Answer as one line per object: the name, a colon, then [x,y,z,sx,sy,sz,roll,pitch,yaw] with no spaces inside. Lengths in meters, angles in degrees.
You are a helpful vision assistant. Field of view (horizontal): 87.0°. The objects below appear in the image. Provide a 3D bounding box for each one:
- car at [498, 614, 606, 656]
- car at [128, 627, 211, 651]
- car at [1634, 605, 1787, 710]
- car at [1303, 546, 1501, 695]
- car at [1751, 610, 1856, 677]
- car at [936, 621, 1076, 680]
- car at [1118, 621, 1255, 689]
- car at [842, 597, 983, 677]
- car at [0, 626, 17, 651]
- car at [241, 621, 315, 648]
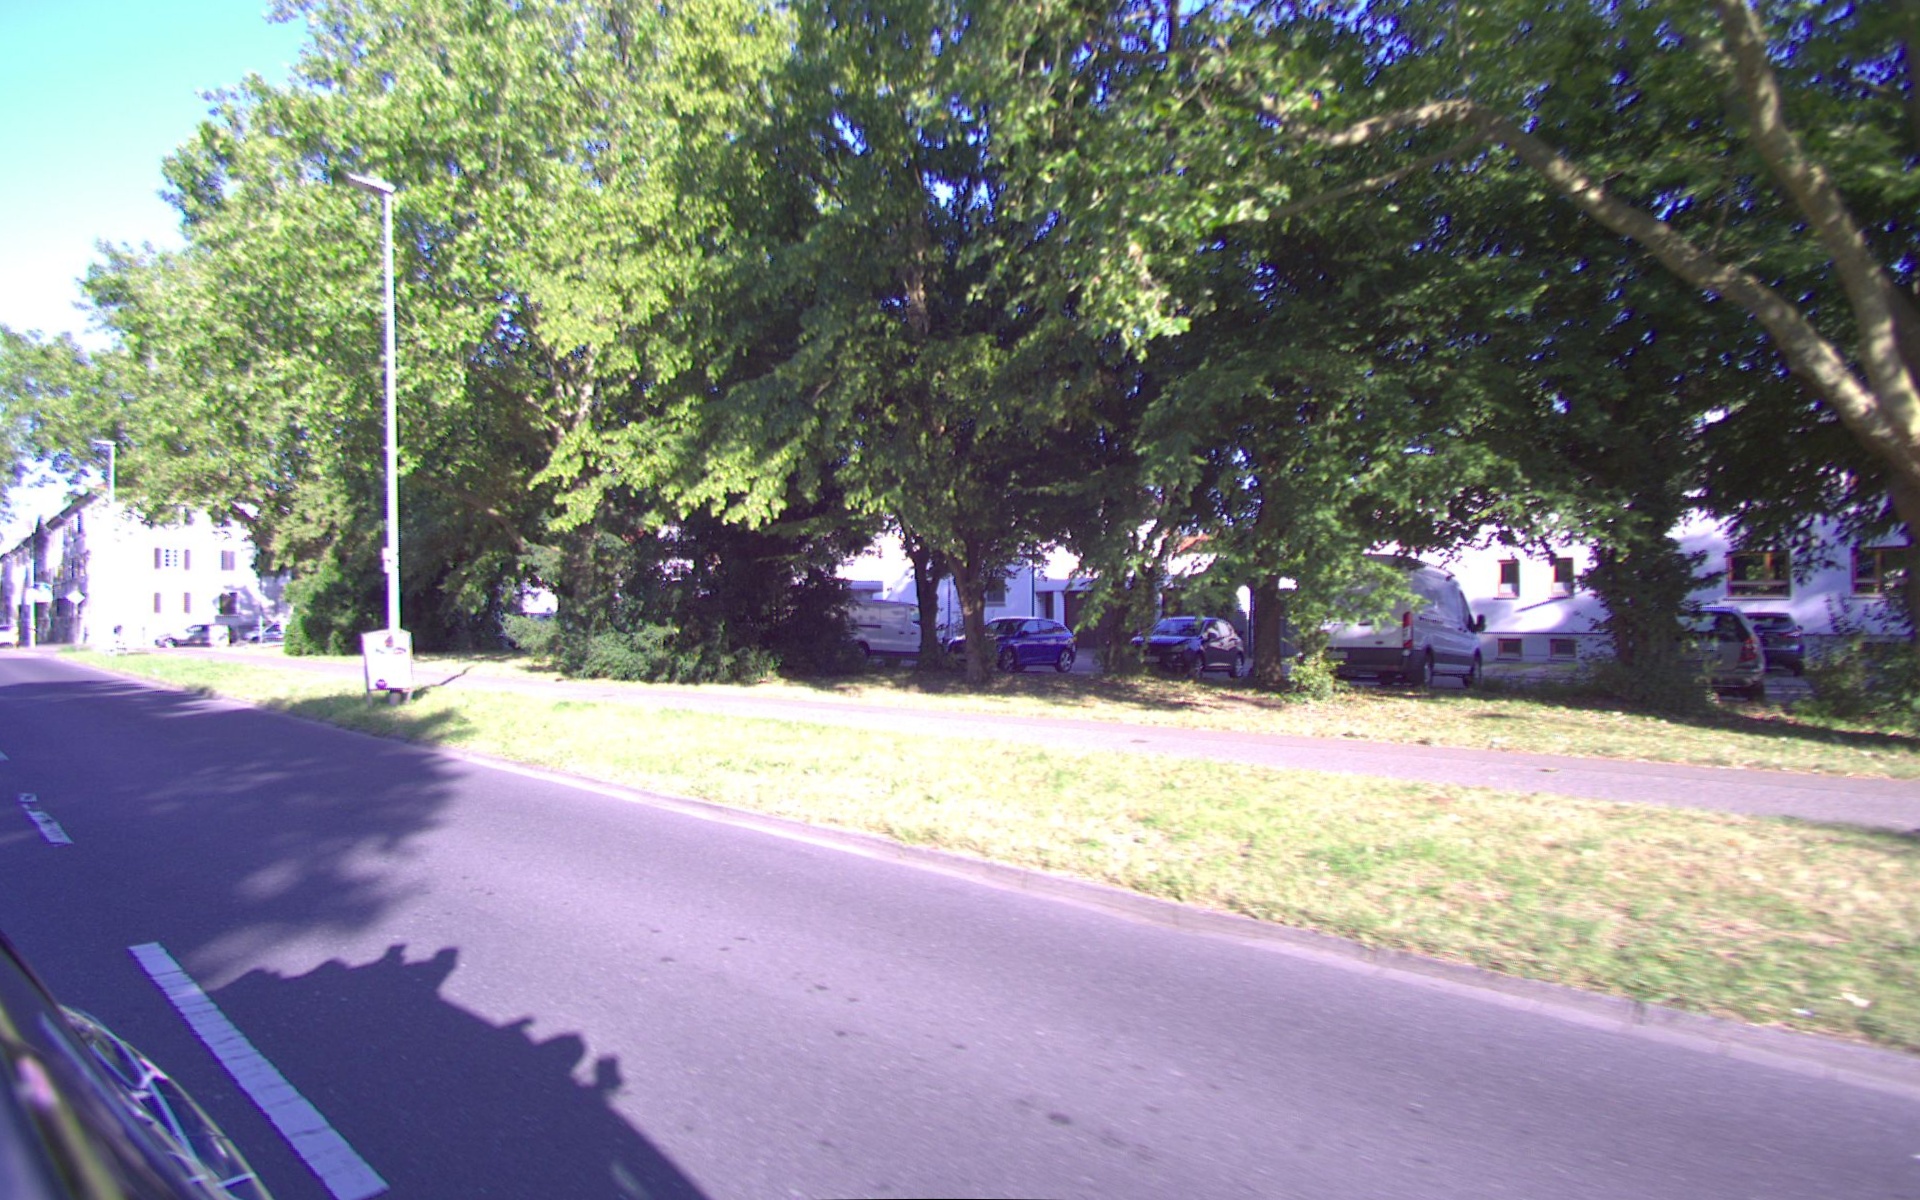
car: [-17.478,1.488,43.447,1.726,1.697,3.947,-1,-2,40]
car: [-48.965,2.401,62.788,3.933,1.429,1.919,0,-2,-35]
car: [12.359,0.872,16.629,1.812,1.511,3.690,-1,-2,39]
car: [8.831,0.471,19.928,2.184,2.521,5.375,-1,-3,40]
car: [21.546,1.078,25.984,1.922,1.564,3.948,-1,-2,38]
car: [1.267,1.254,26.286,1.690,1.392,3.892,-1,-2,38]
car: [5.154,1.174,22.747,1.691,1.392,3.447,-1,-2,38]
car: [-1.269,1.009,28.411,1.904,2.060,3.953,-3,-2,35]
car: [-61.249,2.468,64.375,1.741,1.494,4.110,-2,0,-45]
car: [-44.329,2.202,65.806,3.933,1.573,1.869,-1,0,-34]
